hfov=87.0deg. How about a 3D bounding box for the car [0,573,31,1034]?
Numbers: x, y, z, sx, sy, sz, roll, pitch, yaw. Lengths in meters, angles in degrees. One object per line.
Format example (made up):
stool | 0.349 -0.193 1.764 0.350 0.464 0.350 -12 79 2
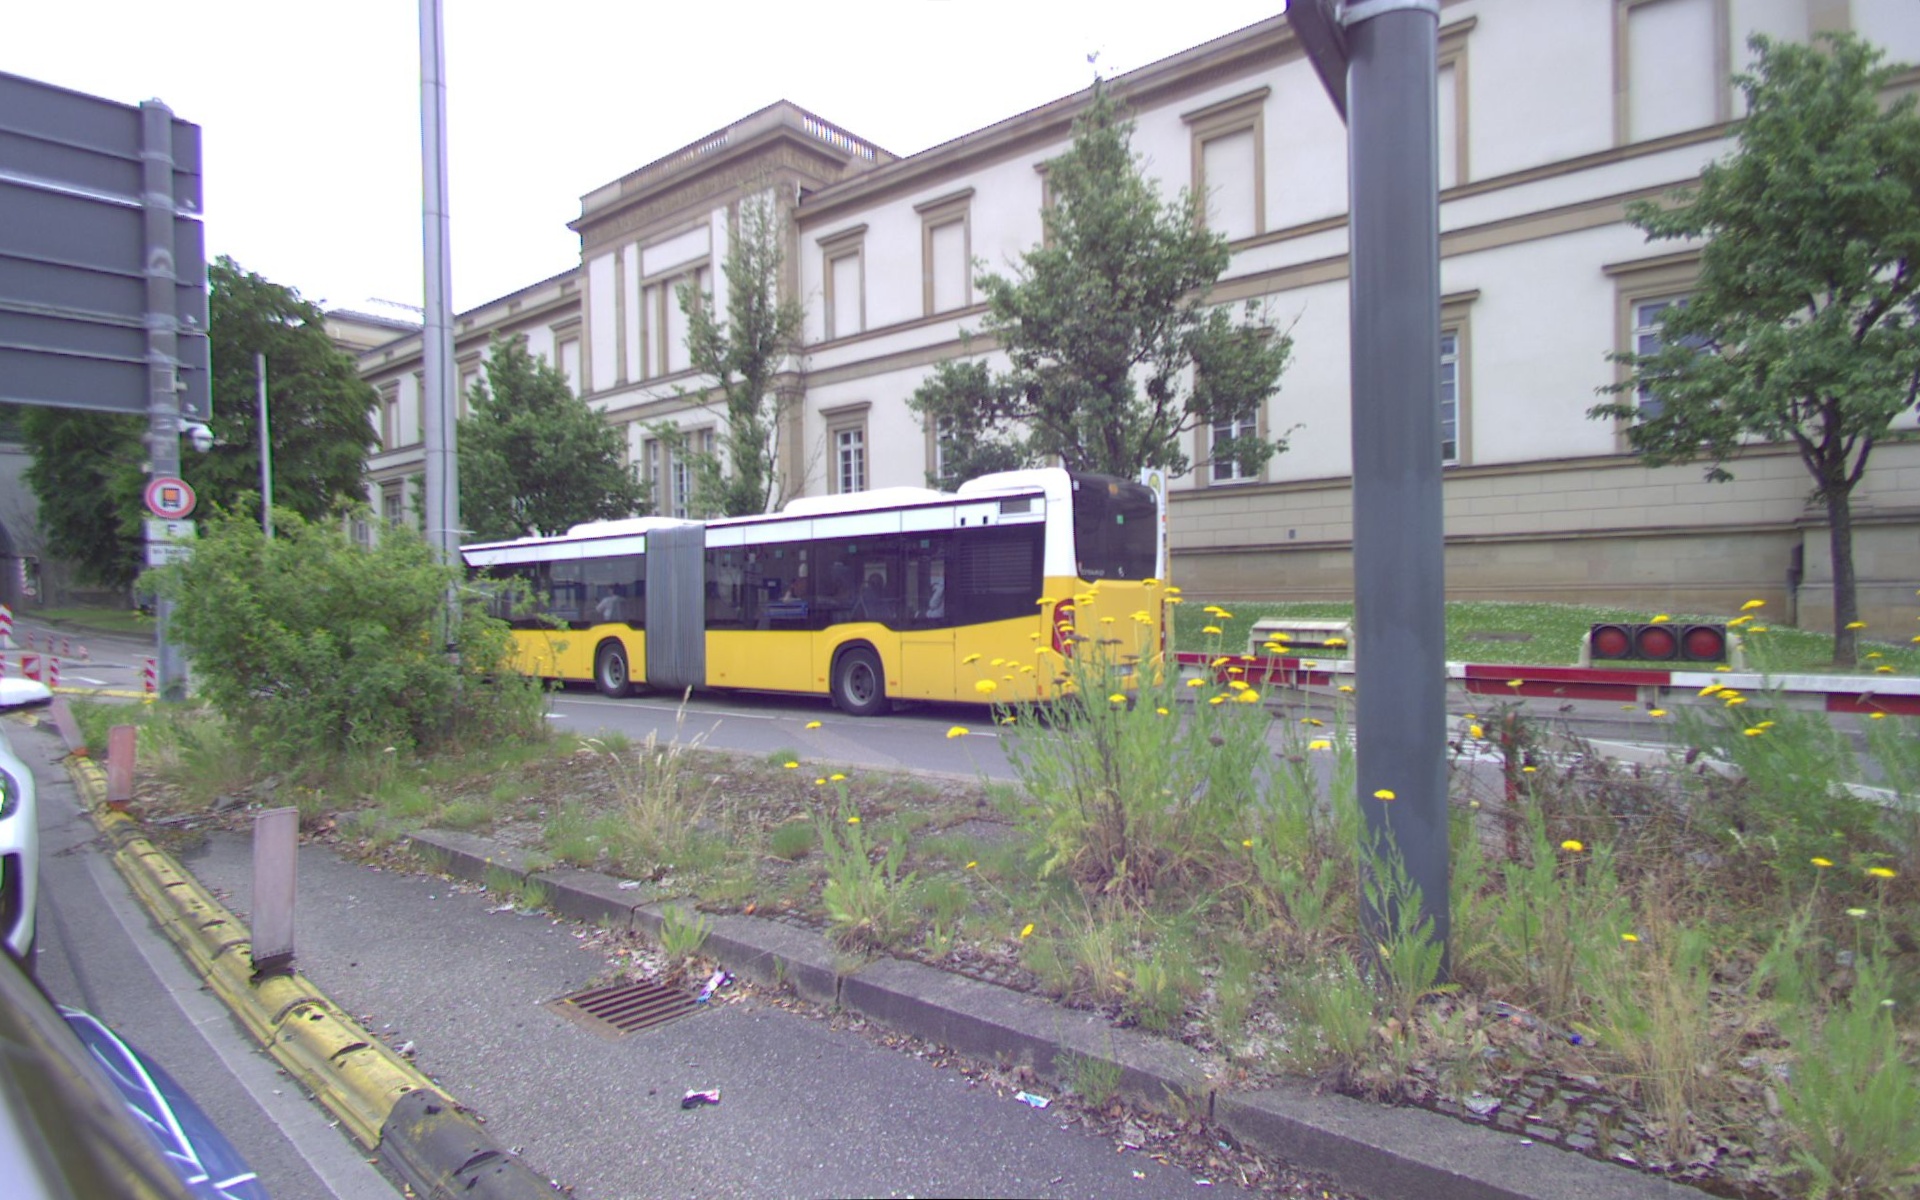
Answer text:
car | -5.235 0.718 4.201 3.911 1.568 1.733 -1 0 43

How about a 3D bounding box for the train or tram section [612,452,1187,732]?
train or tram section | -1.465 0.017 15.183 9.328 3.094 2.667 -2 -2 40

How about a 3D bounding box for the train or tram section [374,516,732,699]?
train or tram section | -8.774 0.236 21.007 9.365 3.094 2.667 -1 -2 39
